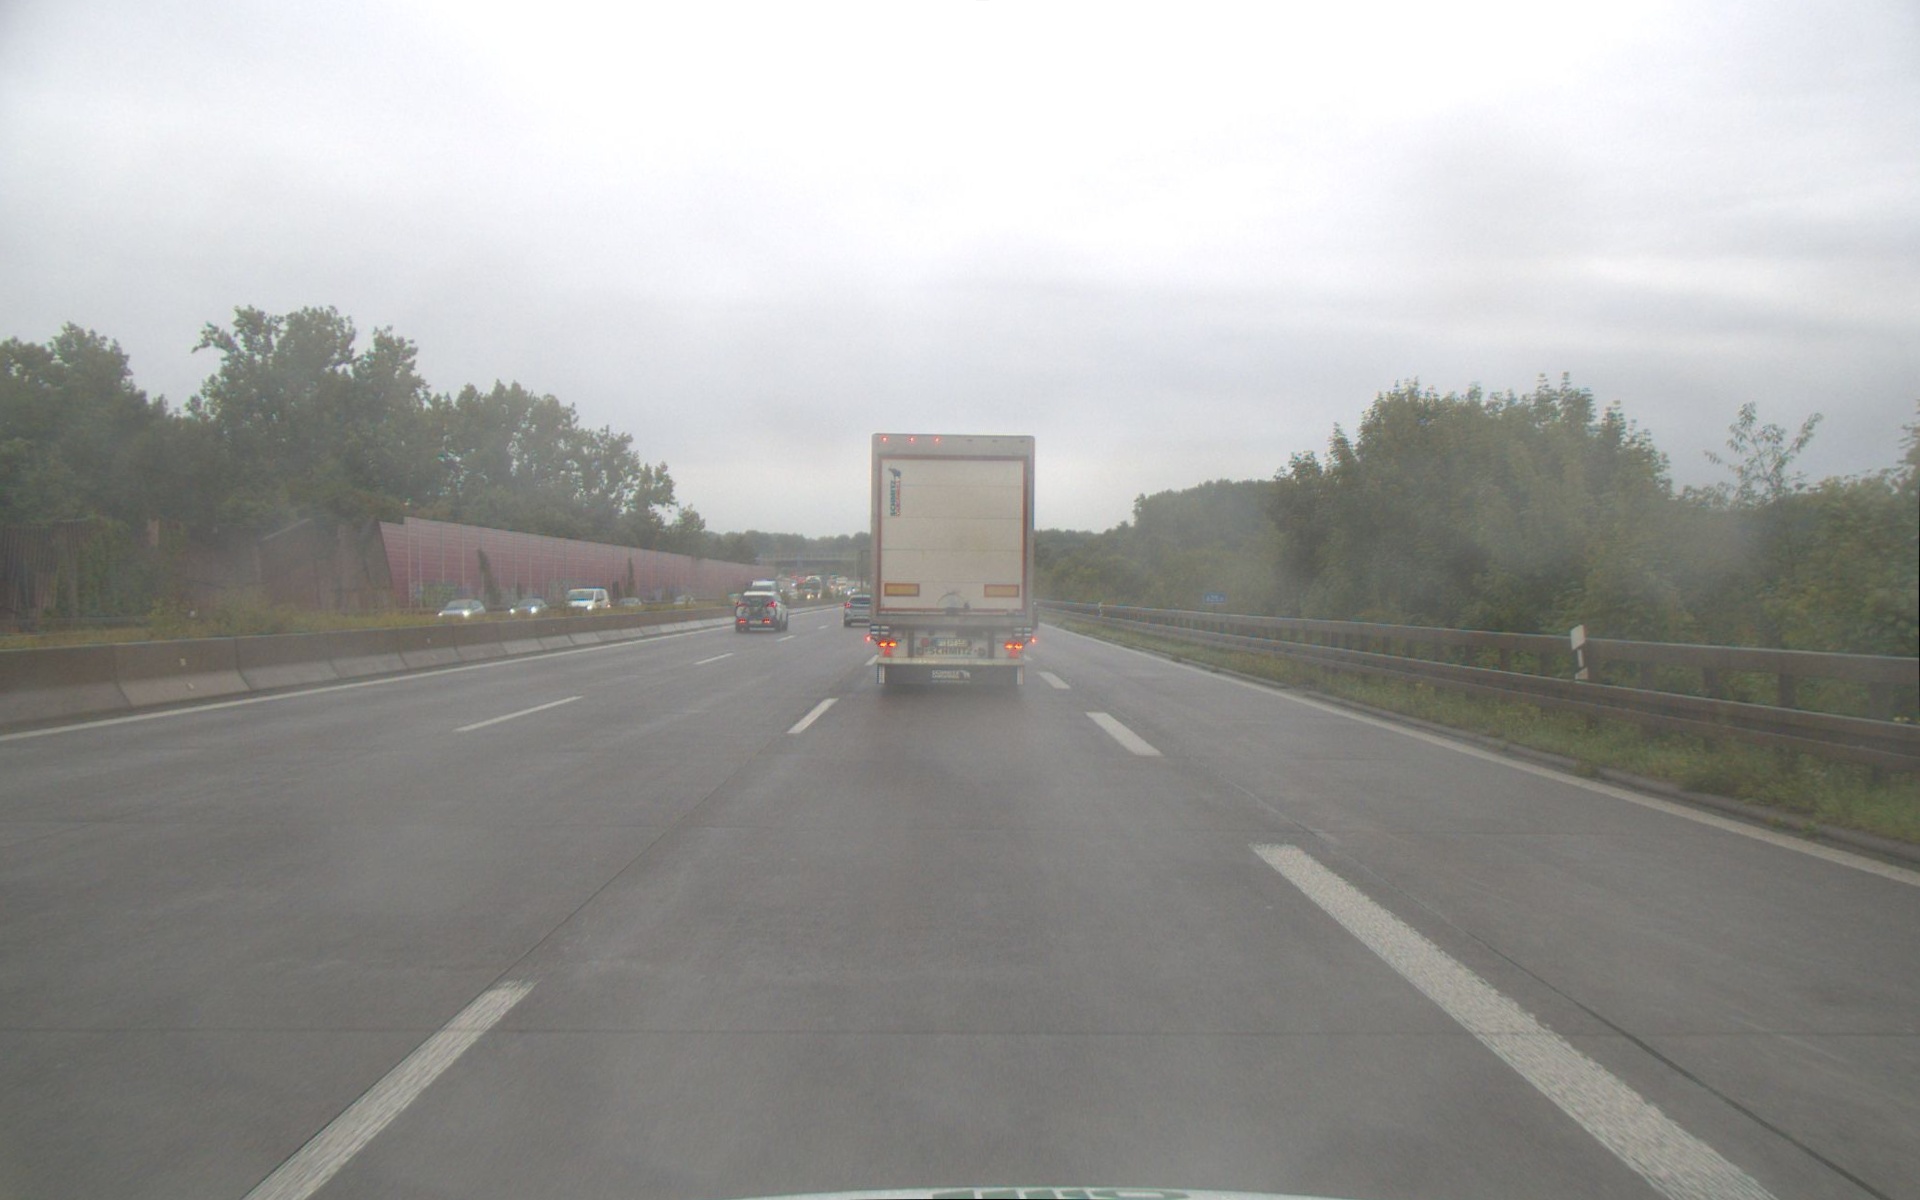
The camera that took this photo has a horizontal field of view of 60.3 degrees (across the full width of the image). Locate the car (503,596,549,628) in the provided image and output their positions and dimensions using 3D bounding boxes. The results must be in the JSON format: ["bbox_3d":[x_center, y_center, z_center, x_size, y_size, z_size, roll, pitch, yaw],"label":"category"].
[{"bbox_3d":[-28.196,0.767,107.552,1.953,2.049,4.000,0,0,0],"label":"car"}]

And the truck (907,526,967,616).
[{"bbox_3d":[-1.449,-1.758,103.990,3.462,5.273,9.891,1,0,-1],"label":"truck"}]

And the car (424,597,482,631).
[{"bbox_3d":[-27.879,0.726,91.098,1.953,1.816,4.289,0,0,-2],"label":"car"}]

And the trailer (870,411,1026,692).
[{"bbox_3d":[-0.270,-0.784,32.631,2.295,4.230,14.824,1,0,-1],"label":"trailer"}]

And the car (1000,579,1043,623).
[{"bbox_3d":[2.893,0.050,78.297,1.858,1.983,4.000,1,0,1],"label":"car"}]

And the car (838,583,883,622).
[{"bbox_3d":[-4.639,0.096,77.621,1.855,1.753,3.999,1,0,-1],"label":"car"}]

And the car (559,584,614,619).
[{"bbox_3d":[-20.579,0.071,91.218,1.953,1.816,5.208,0,0,-2],"label":"car"}]

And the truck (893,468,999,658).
[{"bbox_3d":[-0.358,-0.849,40.337,2.295,4.230,6.345,1,0,-1],"label":"truck"}]

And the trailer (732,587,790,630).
[{"bbox_3d":[-7.928,0.314,66.223,1.778,1.653,4.567,0,1,-1],"label":"trailer"}]
